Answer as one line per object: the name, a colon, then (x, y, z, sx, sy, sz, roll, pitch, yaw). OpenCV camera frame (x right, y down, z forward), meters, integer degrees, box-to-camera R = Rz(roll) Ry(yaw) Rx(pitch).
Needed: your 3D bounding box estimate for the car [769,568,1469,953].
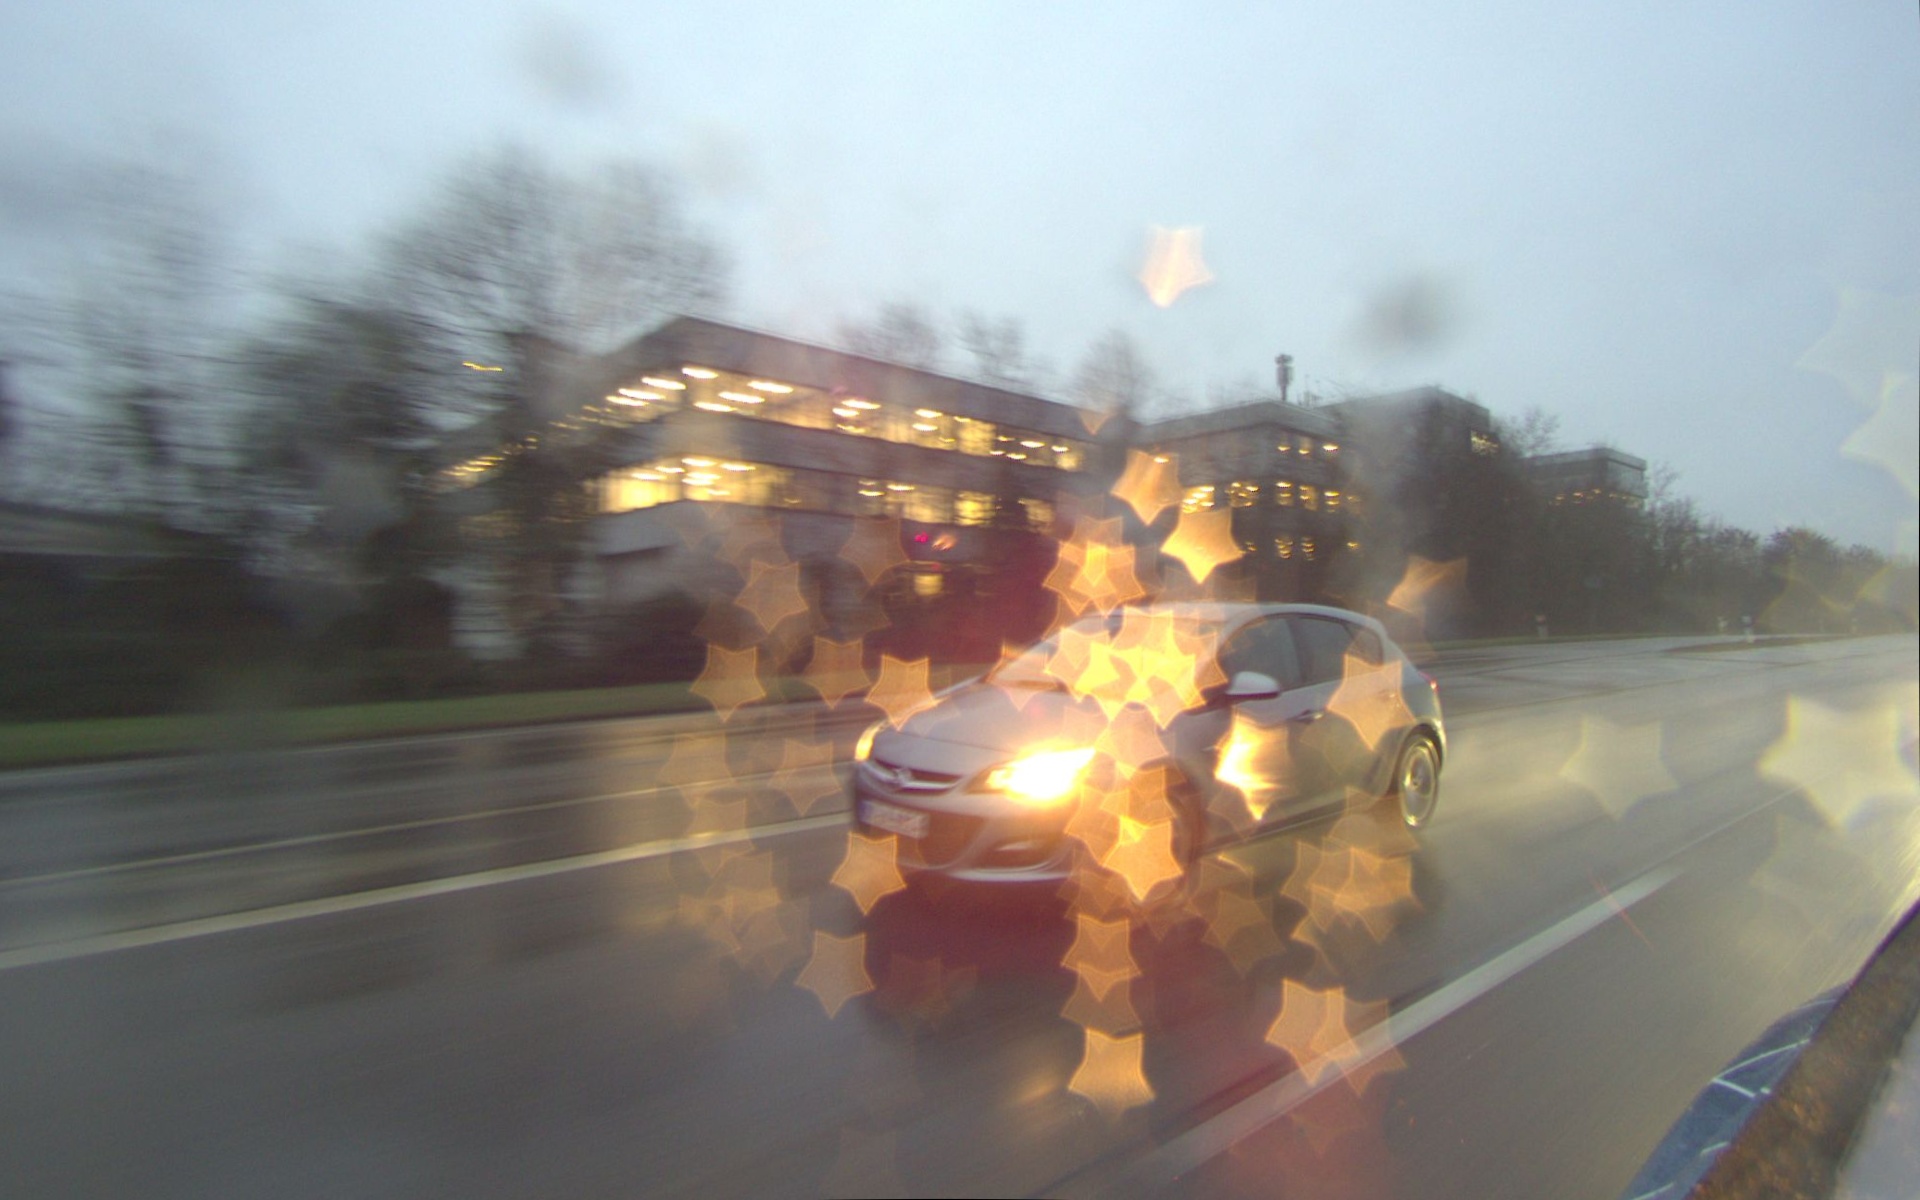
car: (1.167, 0.632, 6.077, 4.187, 1.521, 1.853, -1, -1, -40)
